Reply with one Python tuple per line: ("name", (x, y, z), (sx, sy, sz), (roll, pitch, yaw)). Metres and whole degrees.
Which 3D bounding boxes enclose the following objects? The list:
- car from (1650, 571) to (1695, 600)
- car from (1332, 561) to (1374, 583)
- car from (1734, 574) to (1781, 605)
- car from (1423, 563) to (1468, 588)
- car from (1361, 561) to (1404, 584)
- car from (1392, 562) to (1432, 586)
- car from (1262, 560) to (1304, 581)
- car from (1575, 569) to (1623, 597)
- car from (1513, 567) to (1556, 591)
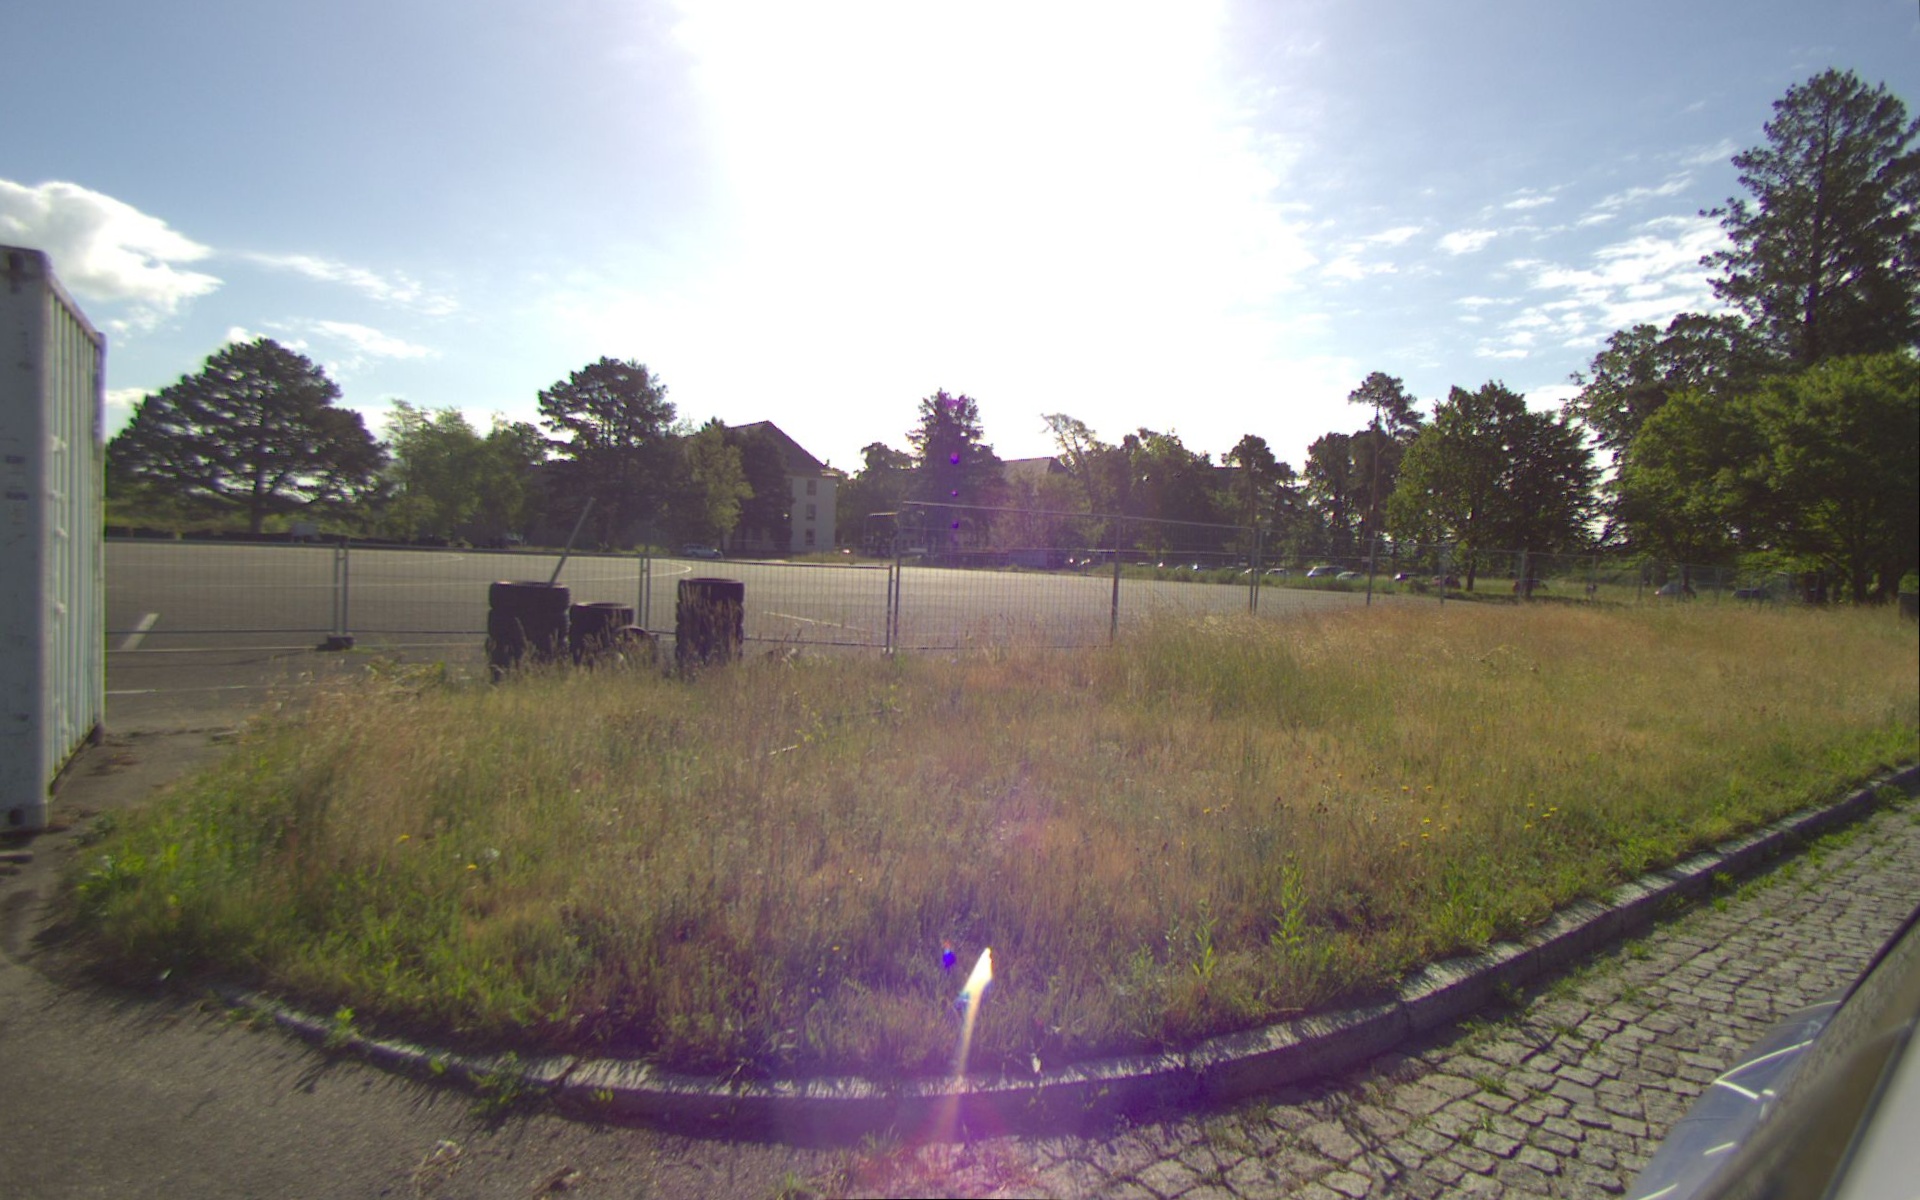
("car", (52.866, -1.088, 75.060), (3.934, 2.038, 1.996), (0, 3, -44))
("car", (37.492, -2.677, 96.521), (3.929, 1.971, 1.999), (0, 3, -40))
("car", (55.770, -0.743, 70.769), (3.934, 2.038, 1.996), (0, 3, -44))
("car", (42.800, -2.140, 89.144), (3.928, 2.038, 1.999), (0, 3, -39))
("car", (39.814, -2.571, 95.275), (3.926, 2.038, 2.000), (0, 3, -38))
("car", (40.791, -2.303, 91.323), (1.995, 2.038, 3.936), (5, 4, 44))
("car", (32.772, -2.990, 102.722), (3.920, 2.039, 2.002), (0, 0, -31))
("car", (50.252, -1.352, 79.617), (3.929, 2.038, 1.999), (0, 3, -40))
("car", (47.189, -1.728, 83.106), (3.934, 1.838, 1.996), (0, 4, -44))
